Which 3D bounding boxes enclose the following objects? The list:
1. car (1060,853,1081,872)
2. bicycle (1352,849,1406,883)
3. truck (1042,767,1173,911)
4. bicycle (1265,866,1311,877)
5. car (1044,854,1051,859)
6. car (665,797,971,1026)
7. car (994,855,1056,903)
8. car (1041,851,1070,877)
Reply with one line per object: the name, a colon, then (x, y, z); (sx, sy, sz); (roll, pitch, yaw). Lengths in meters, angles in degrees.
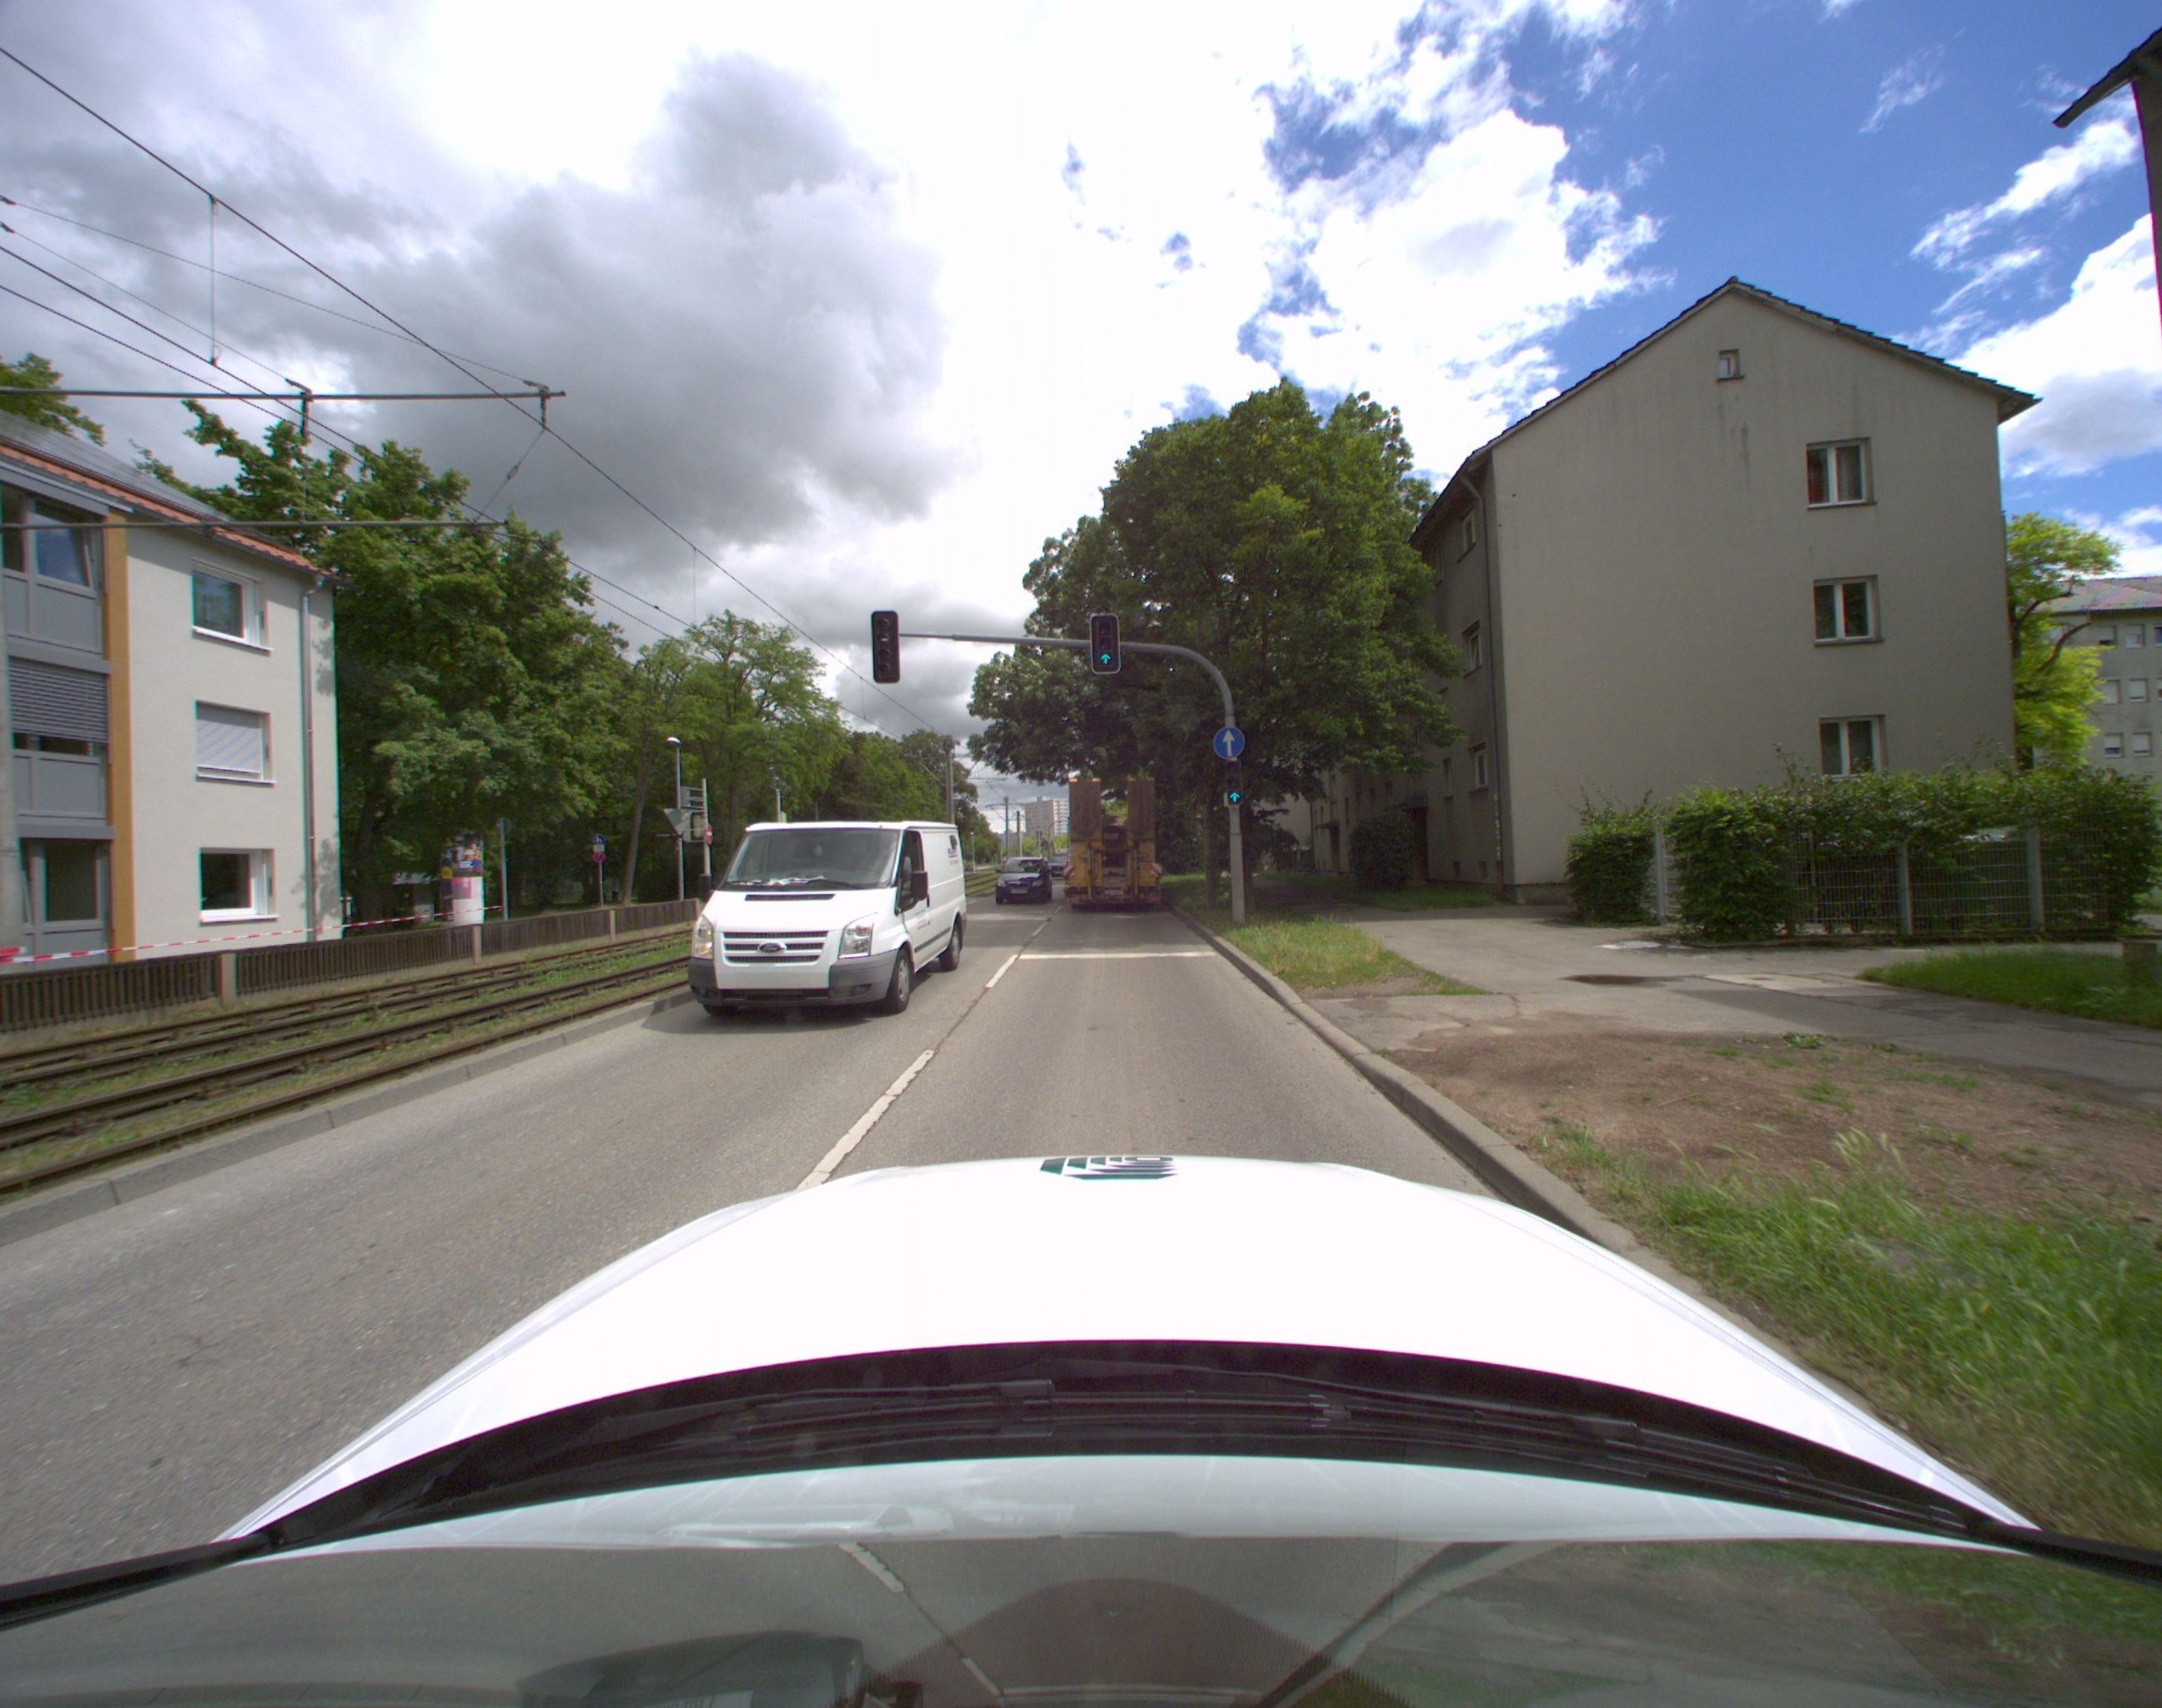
car: (-0.857, 0.682, 68.982); (1.710, 1.544, 4.001); (-1, 1, 1)
bicycle: (9.707, 0.397, 26.592); (0.438, 1.080, 1.736); (0, -1, -33)
truck: (0.730, -0.309, 27.149); (3.305, 3.651, 12.560); (-1, -1, 0)
bicycle: (10.235, 0.875, 40.298); (2.190, 0.508, 0.675); (-1, -1, 12)
car: (-10.442, 0.840, 255.511); (1.990, 1.420, 3.993); (0, -1, -5)
car: (-2.660, 0.511, 9.632); (1.987, 1.996, 4.786); (-1, 0, 0)
car: (-1.811, 0.776, 27.399); (1.574, 1.485, 3.810); (-1, 0, 4)
car: (-1.540, 0.582, 50.623); (1.631, 1.533, 3.275); (-1, 0, 0)
